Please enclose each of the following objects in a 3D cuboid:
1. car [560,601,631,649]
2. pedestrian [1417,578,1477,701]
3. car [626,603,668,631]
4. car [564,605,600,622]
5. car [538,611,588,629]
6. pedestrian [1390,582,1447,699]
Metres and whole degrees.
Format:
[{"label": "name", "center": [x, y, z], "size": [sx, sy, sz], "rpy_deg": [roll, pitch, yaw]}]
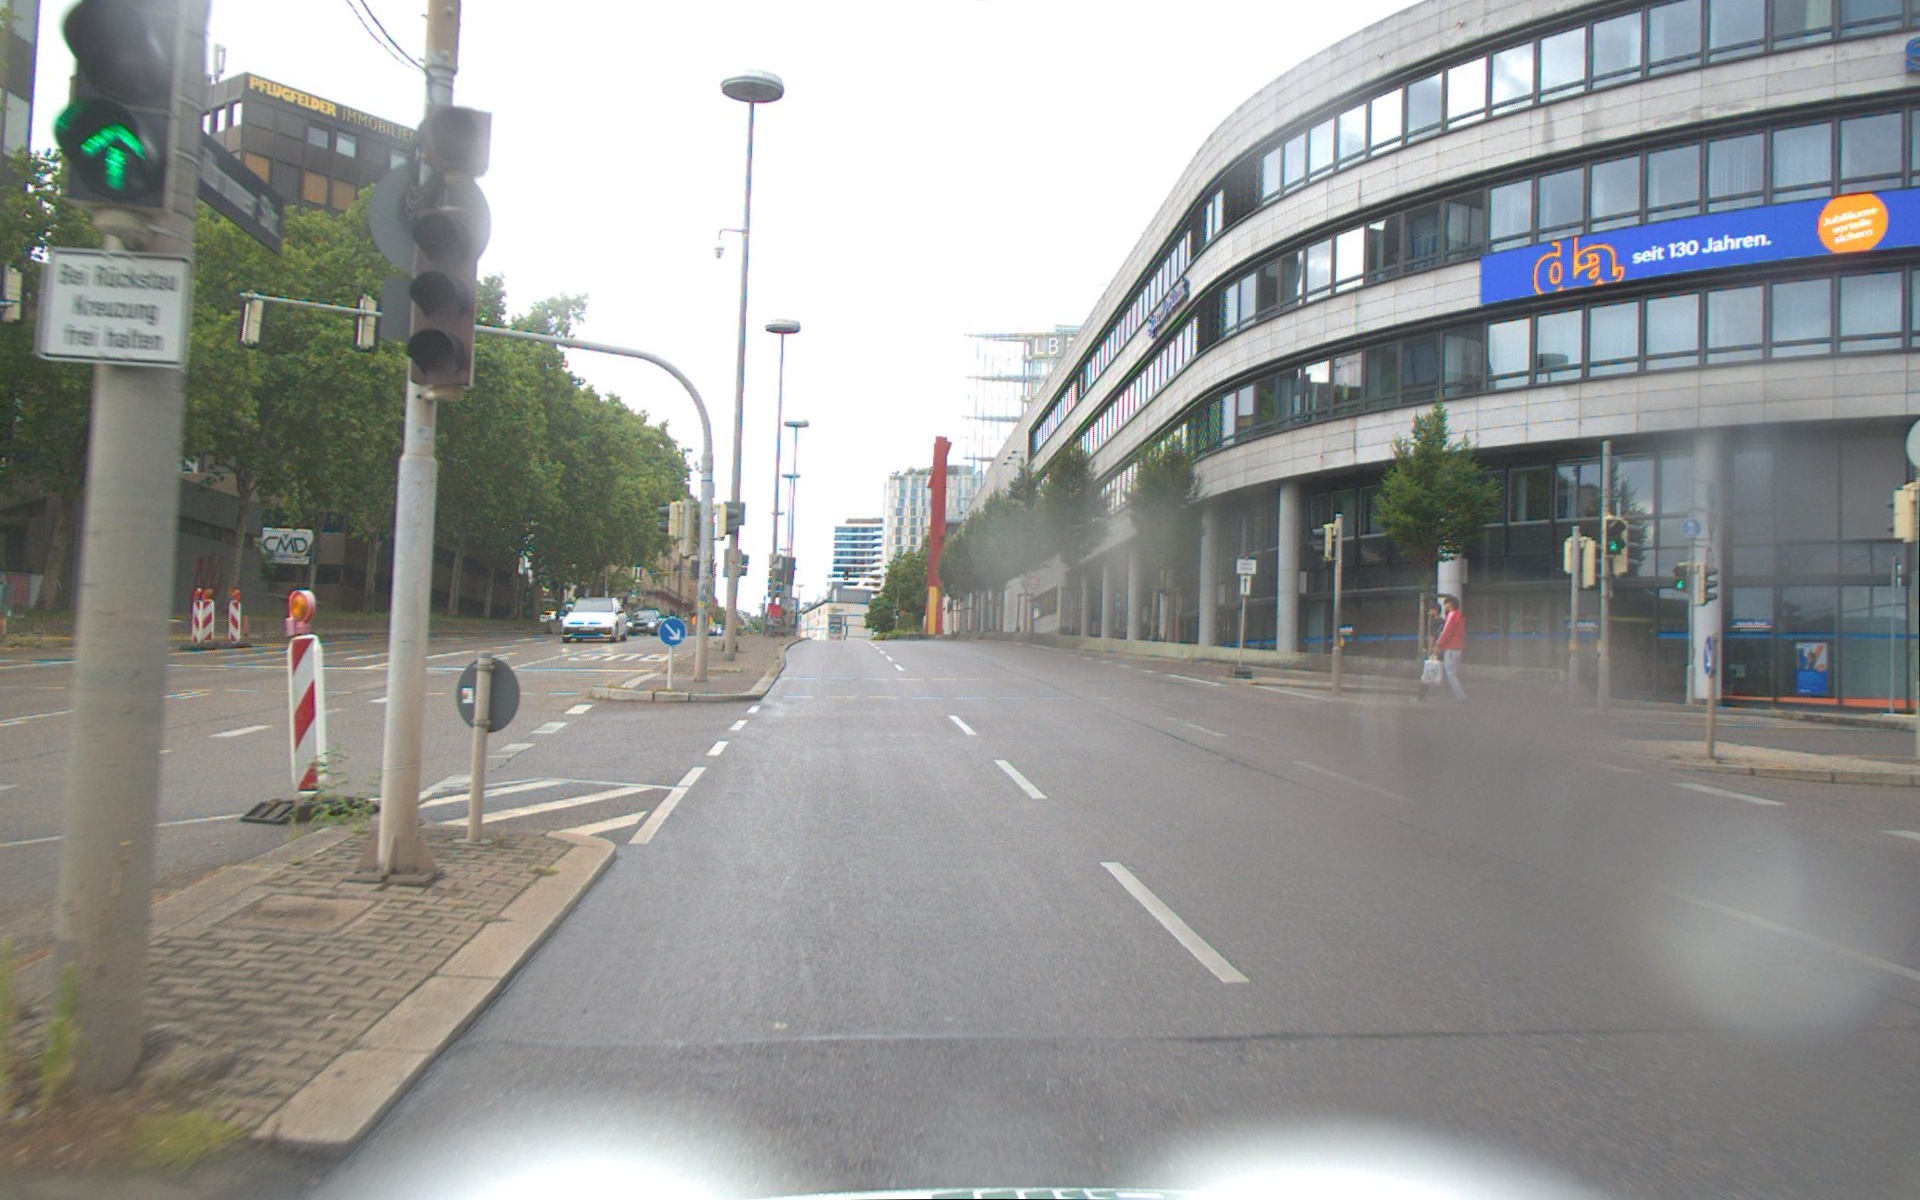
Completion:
[{"label": "car", "center": [-12.162, 0.806, 55.377], "size": [1.726, 1.486, 4.356], "rpy_deg": [1, 0, -4]}, {"label": "pedestrian", "center": [7.891, 0.644, 26.797], "size": [0.823, 1.938, 0.861], "rpy_deg": [1, -3, 22]}, {"label": "car", "center": [-17.082, 0.907, 90.317], "size": [1.772, 1.474, 4.335], "rpy_deg": [1, 0, -5]}, {"label": "car", "center": [-41.398, 1.472, 181.196], "size": [3.560, 1.731, 1.822], "rpy_deg": [0, -2, -8]}, {"label": "car", "center": [-37.043, 1.886, 154.401], "size": [1.787, 1.537, 4.563], "rpy_deg": [-2, -3, 33]}, {"label": "pedestrian", "center": [7.753, 0.675, 27.936], "size": [0.823, 1.938, 0.732], "rpy_deg": [1, -1, 22]}]
